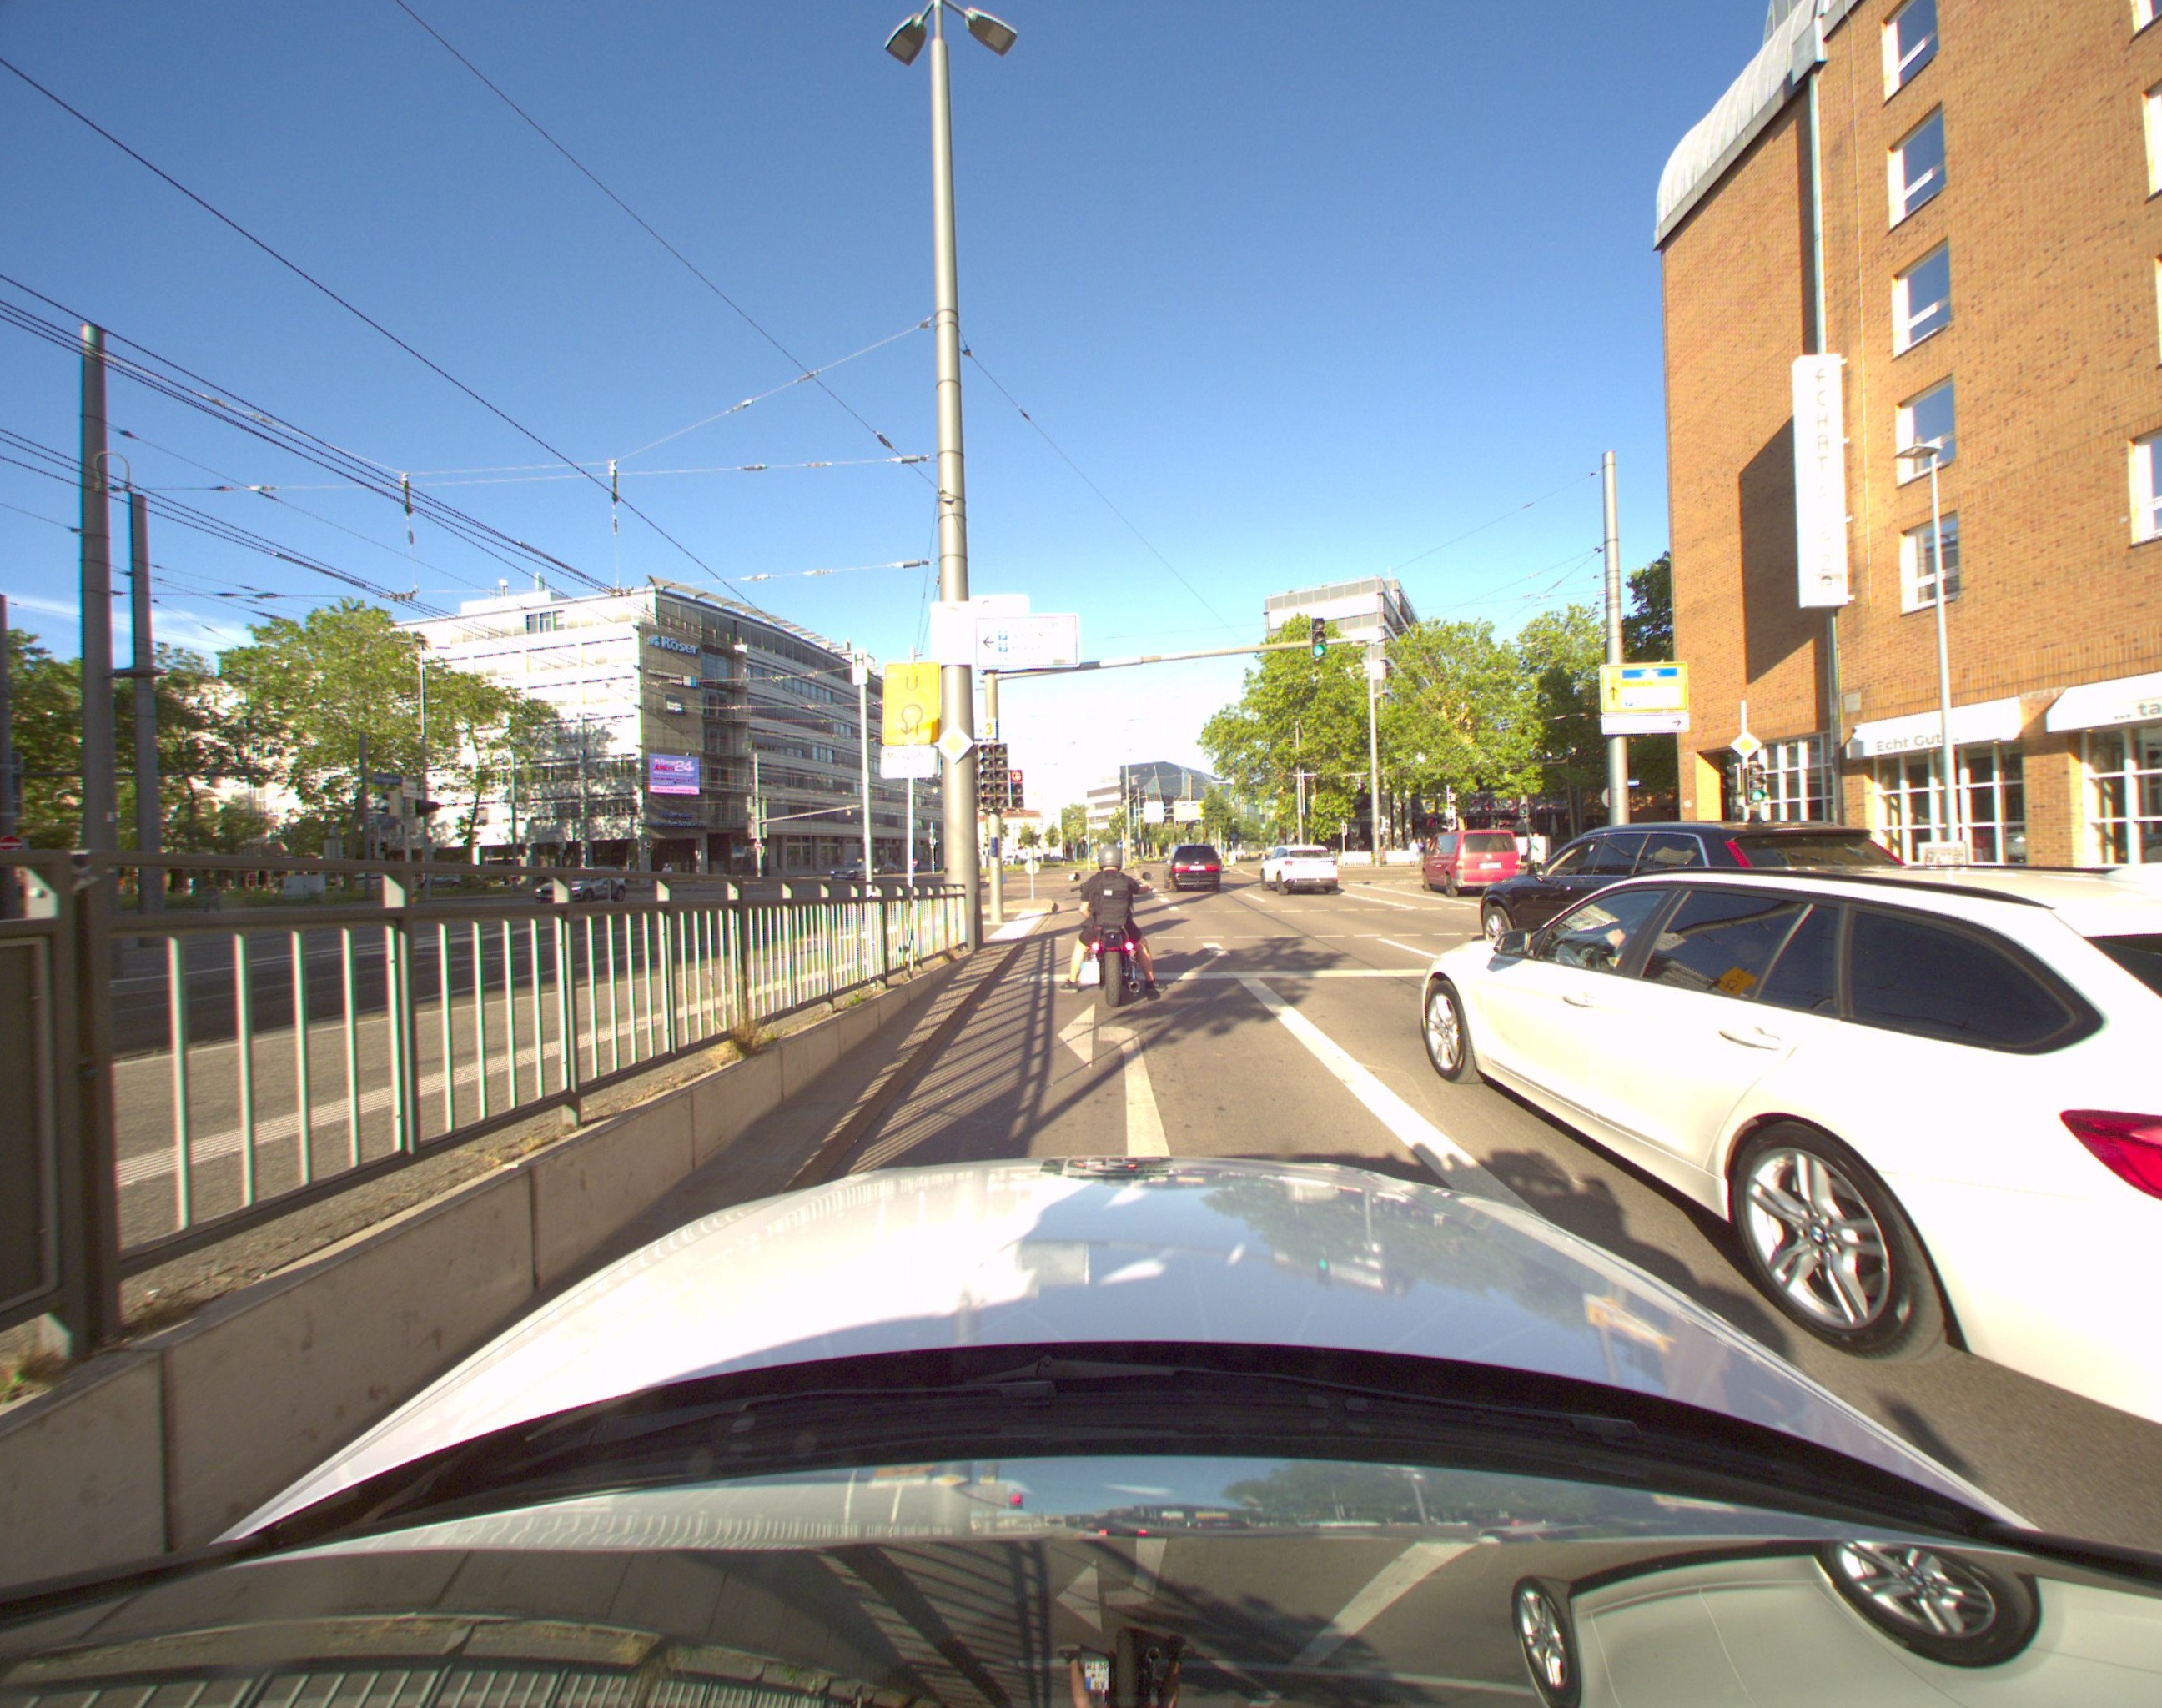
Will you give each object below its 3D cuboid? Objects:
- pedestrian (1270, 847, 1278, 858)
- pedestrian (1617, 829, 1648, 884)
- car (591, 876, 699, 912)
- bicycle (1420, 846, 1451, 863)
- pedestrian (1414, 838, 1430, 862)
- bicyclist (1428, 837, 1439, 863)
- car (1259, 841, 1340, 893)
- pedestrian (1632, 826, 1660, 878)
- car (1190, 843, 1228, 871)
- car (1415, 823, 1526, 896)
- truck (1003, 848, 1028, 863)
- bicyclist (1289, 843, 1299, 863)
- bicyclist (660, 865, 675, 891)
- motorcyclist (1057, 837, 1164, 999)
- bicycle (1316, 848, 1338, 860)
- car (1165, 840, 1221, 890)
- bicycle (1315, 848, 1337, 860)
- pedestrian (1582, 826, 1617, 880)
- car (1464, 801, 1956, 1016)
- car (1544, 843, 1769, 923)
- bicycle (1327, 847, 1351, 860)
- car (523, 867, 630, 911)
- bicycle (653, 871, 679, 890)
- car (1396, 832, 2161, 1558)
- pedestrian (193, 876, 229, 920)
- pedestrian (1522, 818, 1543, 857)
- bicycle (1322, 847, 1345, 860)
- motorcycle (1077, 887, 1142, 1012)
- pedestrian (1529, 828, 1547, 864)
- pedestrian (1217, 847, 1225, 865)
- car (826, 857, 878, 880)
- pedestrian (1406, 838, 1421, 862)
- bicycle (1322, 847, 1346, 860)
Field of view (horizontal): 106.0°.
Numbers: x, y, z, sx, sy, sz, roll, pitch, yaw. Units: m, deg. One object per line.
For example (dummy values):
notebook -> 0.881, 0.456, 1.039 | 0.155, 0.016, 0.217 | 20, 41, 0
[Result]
pedestrian -> 22.192, -0.172, 93.571 | 0.814, 1.314, 0.640 | -1, -1, 11
pedestrian -> 18.577, 0.087, 27.459 | 0.588, 1.780, 0.684 | -3, -1, 13
car -> -13.916, 1.267, 26.121 | 2.884, 1.063, 1.235 | 0, -1, -19
bicycle -> 25.640, 0.027, 58.900 | 2.034, 1.214, 0.421 | 0, -1, 2
pedestrian -> 21.216, -0.225, 50.690 | 0.567, 1.479, 0.698 | 0, -1, -16
bicyclist -> 25.498, -0.281, 58.911 | 0.582, 1.837, 0.403 | 0, -1, 1
car -> 7.193, 0.417, 27.165 | 1.725, 1.598, 4.043 | 0, -1, 2
pedestrian -> 19.756, -0.058, 28.464 | 0.727, 1.792, 0.515 | -1, -1, 42
car -> 7.941, 0.177, 50.837 | 1.797, 1.678, 4.041 | 0, -1, 1
car -> 11.881, 0.170, 25.192 | 1.793, 2.009, 4.484 | -2, -1, 9
truck -> -8.939, 0.227, 111.895 | 1.980, 1.879, 5.173 | -4, -1, 12
bicyclist -> 17.804, -0.092, 67.964 | 0.682, 1.673, 0.544 | -2, -1, 21
bicyclist -> -24.434, 1.403, 48.122 | 0.584, 1.534, 0.650 | 0, -1, 2
motorcyclist -> 0.308, 0.637, 8.555 | 1.027, 1.593, 0.874 | -2, 0, 1
bicycle -> 21.666, -0.012, 71.663 | 1.874, 1.046, 0.360 | 0, 0, 1
car -> 4.021, 0.406, 29.709 | 1.795, 1.678, 4.046 | 0, -1, 5
bicycle -> 21.734, -0.014, 72.163 | 1.874, 1.046, 0.360 | 0, 0, 1
pedestrian -> 17.692, -0.011, 27.815 | 0.591, 1.780, 0.681 | -5, -2, -1
car -> 6.223, 0.464, 8.943 | 1.727, 1.732, 4.607 | 0, -1, -2
car -> 11.695, 0.548, 16.929 | 1.727, 1.450, 4.037 | 0, -1, -2
bicycle -> 21.654, -0.064, 68.391 | 1.874, 1.046, 0.360 | 0, -1, 1
car -> -20.586, 1.376, 33.461 | 1.821, 1.568, 4.237 | -2, -1, -2
bicycle -> -24.456, 1.559, 48.025 | 0.458, 1.090, 1.815 | -3, -1, 2
car -> 3.096, 0.698, 3.721 | 1.725, 1.457, 4.419 | 0, -1, 2
pedestrian -> -34.919, 1.759, 32.693 | 0.587, 1.691, 0.795 | 0, -1, 2
pedestrian -> 22.443, -0.814, 40.493 | 0.783, 1.898, 0.821 | -1, -1, 21
bicycle -> 21.673, -0.025, 69.988 | 1.874, 1.046, 0.360 | 0, -1, 1
motorcycle -> 0.301, 0.928, 8.640 | 0.598, 1.036, 2.235 | 0, 0, 2
pedestrian -> 21.882, -0.373, 38.989 | 0.634, 1.700, 0.727 | -1, -1, 21
pedestrian -> 12.302, 0.194, 71.409 | 0.587, 1.557, 0.488 | 0, -1, -6
car -> -17.586, 1.086, 62.899 | 1.813, 1.568, 4.710 | -3, -1, 12
pedestrian -> 20.615, -0.245, 50.515 | 0.566, 1.532, 0.700 | 0, -1, -9
bicycle -> 21.507, -0.044, 69.175 | 1.874, 1.046, 0.360 | 0, -1, 1
